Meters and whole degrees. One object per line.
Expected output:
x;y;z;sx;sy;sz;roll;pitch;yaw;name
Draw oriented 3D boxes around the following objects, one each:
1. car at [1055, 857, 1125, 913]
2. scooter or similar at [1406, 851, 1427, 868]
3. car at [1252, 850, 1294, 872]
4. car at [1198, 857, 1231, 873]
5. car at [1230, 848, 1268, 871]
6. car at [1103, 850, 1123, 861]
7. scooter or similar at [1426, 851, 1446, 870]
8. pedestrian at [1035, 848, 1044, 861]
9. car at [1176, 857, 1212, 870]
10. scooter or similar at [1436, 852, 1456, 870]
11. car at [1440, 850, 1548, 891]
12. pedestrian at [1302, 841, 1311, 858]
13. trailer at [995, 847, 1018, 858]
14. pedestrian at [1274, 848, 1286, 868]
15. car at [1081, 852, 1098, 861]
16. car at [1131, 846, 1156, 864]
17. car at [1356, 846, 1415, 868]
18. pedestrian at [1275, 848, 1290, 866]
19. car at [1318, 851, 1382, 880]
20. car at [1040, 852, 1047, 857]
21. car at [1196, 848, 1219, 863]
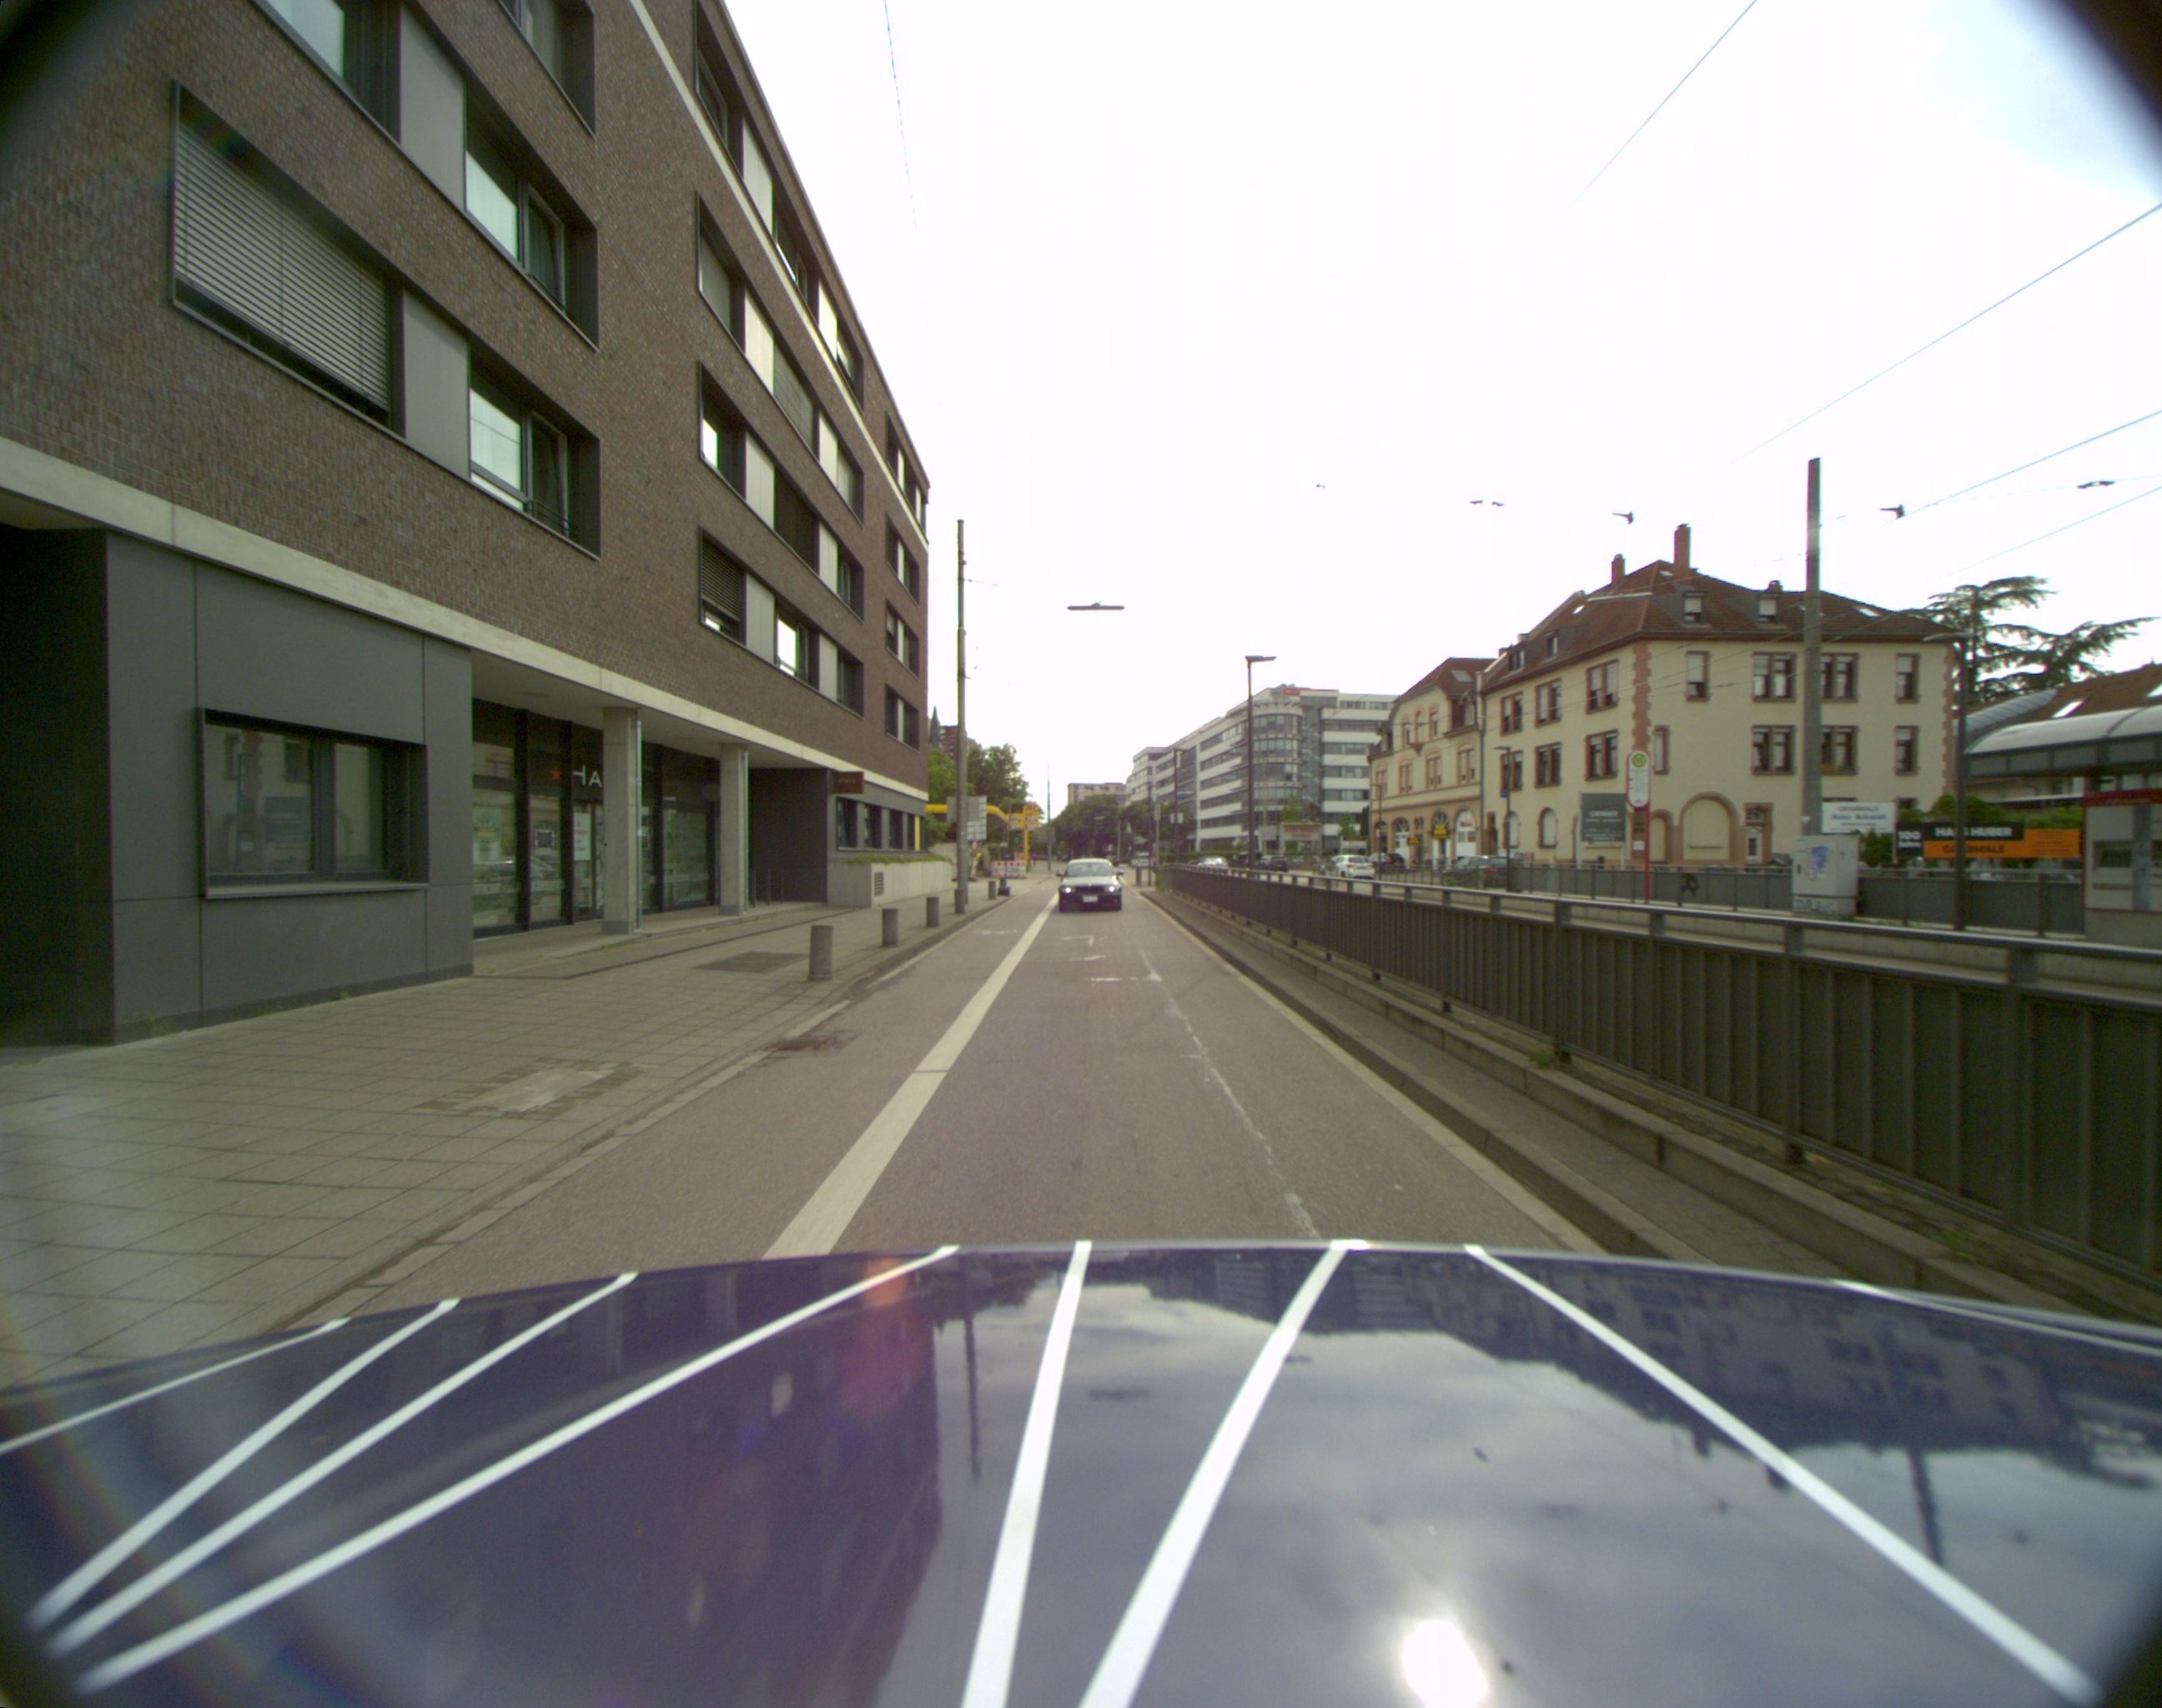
0.288;0.819;21.832;1.786;1.361;4.113;-1;1;1;car
23.062;0.366;52.268;1.178;1.095;0.527;-3;2;-8;scooter or similar
16.714;0.627;66.327;2.043;1.739;4.532;-2;0;-6;car
11.503;0.899;65.750;1.756;1.291;3.829;0;1;-8;car
15.815;0.515;71.952;1.992;2.002;5.181;-2;1;-5;car
4.474;0.206;106.915;1.888;1.420;4.420;0;1;-8;car
21.834;0.409;46.710;1.180;1.095;0.526;-2;1;-33;scooter or similar
-5.773;0.122;105.429;0.871;1.738;0.848;2;1;-32;pedestrian
13.321;1.109;89.252;3.979;1.443;1.818;0;1;14;car
22.067;0.415;45.903;1.180;1.095;0.526;-2;1;-33;scooter or similar
15.914;0.599;29.543;1.768;1.443;3.997;0;1;-5;car
23.303;-0.471;78.472;0.636;1.764;0.761;-1;1;0;pedestrian
-11.332;-0.228;115.535;3.292;1.523;1.772;1;3;-6;trailer
19.074;0.384;72.797;0.806;1.815;1.059;-1;1;-3;pedestrian
1.448;0.362;130.381;1.911;1.464;4.815;0;0;-10;car
7.157;0.095;87.307;1.890;1.977;4.521;0;1;-9;car
22.092;0.181;55.360;1.999;1.484;4.900;-3;1;-4;car
23.412;0.344;88.219;1.217;2.002;1.186;0;1;-19;pedestrian
14.951;0.594;42.465;1.869;1.477;3.998;2;0;-4;car
-12.176;0.187;245.785;1.848;1.714;4.403;-1;1;-10;car
13.703;0.175;82.260;1.792;1.521;4.147;2;1;19;car
